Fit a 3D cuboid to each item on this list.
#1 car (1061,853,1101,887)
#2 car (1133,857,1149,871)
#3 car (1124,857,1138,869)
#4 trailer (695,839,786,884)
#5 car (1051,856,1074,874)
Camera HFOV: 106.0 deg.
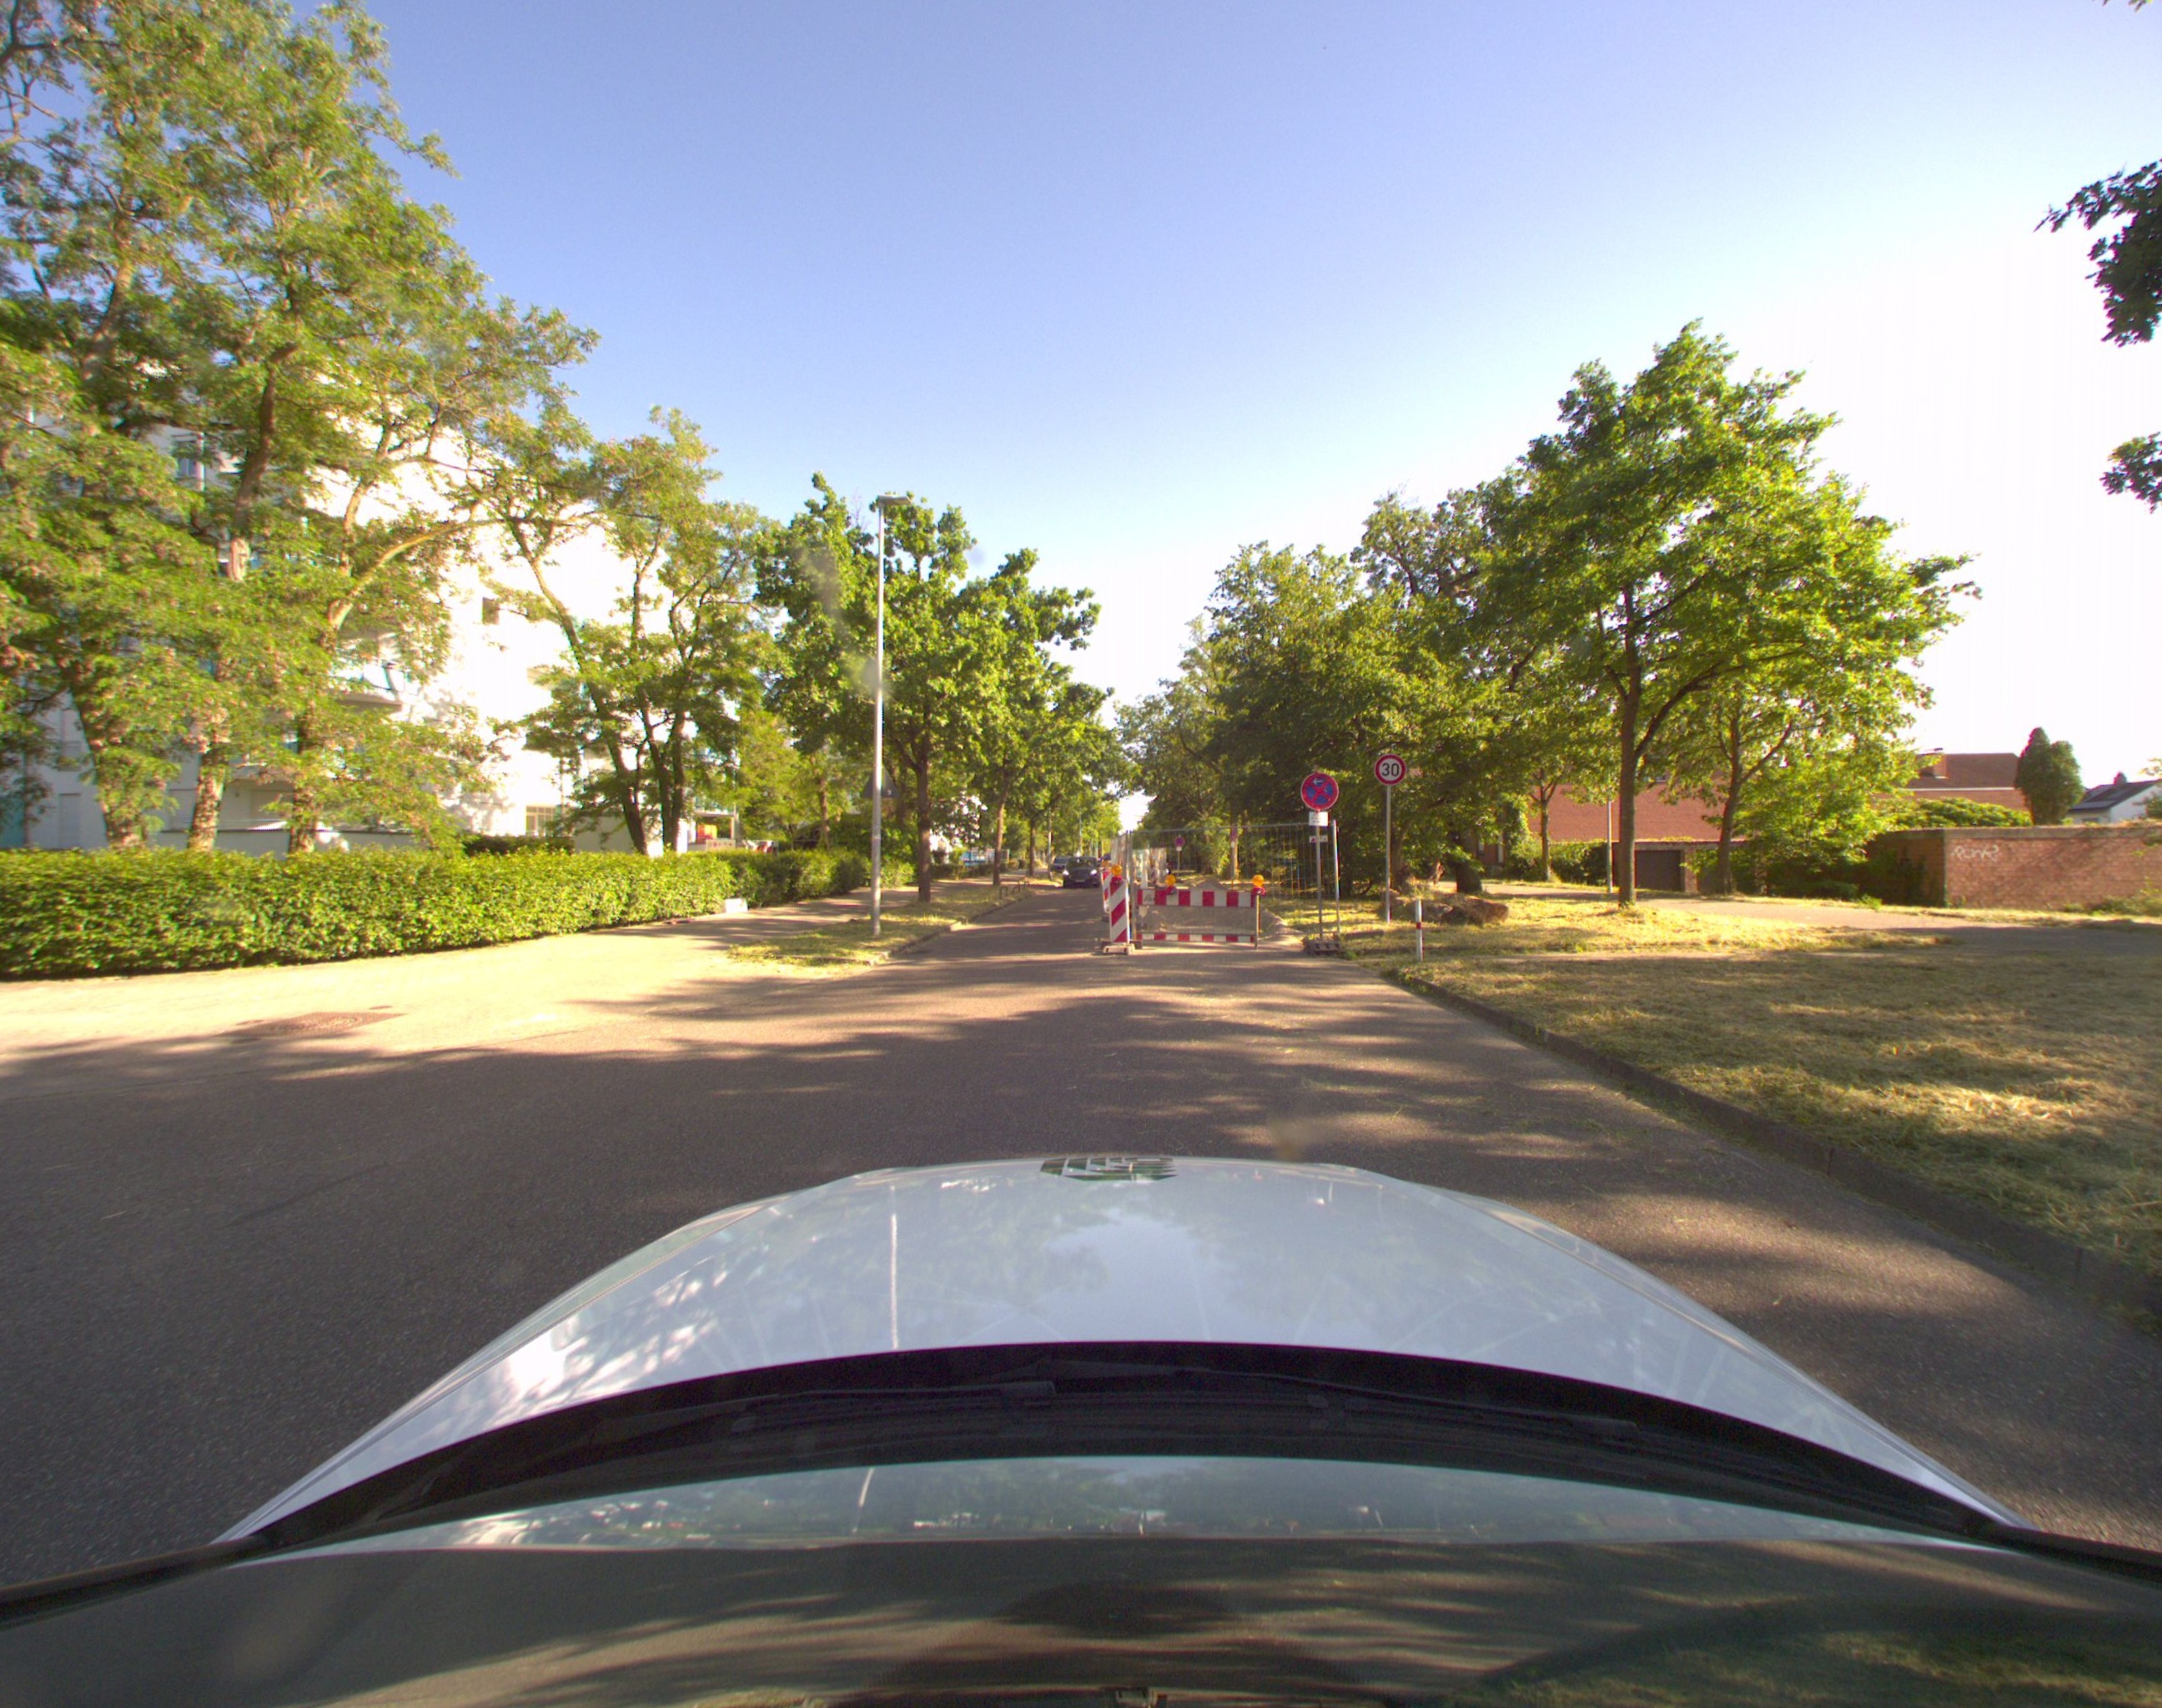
[{"bbox_3d":[0.054,0.806,43.448,1.814,1.625,4.496,-2,0,3],"label":"car"},{"bbox_3d":[5.704,0.929,77.640,1.356,1.302,3.481,1,-1,1],"label":"car"},{"bbox_3d":[5.534,0.991,90.634,1.356,1.302,3.481,1,-1,1],"label":"car"},{"bbox_3d":[-16.373,0.348,39.418,1.964,2.042,4.442,0,0,10],"label":"trailer"},{"bbox_3d":[-1.527,0.925,68.169,1.744,1.478,3.838,0,0,2],"label":"car"}]
